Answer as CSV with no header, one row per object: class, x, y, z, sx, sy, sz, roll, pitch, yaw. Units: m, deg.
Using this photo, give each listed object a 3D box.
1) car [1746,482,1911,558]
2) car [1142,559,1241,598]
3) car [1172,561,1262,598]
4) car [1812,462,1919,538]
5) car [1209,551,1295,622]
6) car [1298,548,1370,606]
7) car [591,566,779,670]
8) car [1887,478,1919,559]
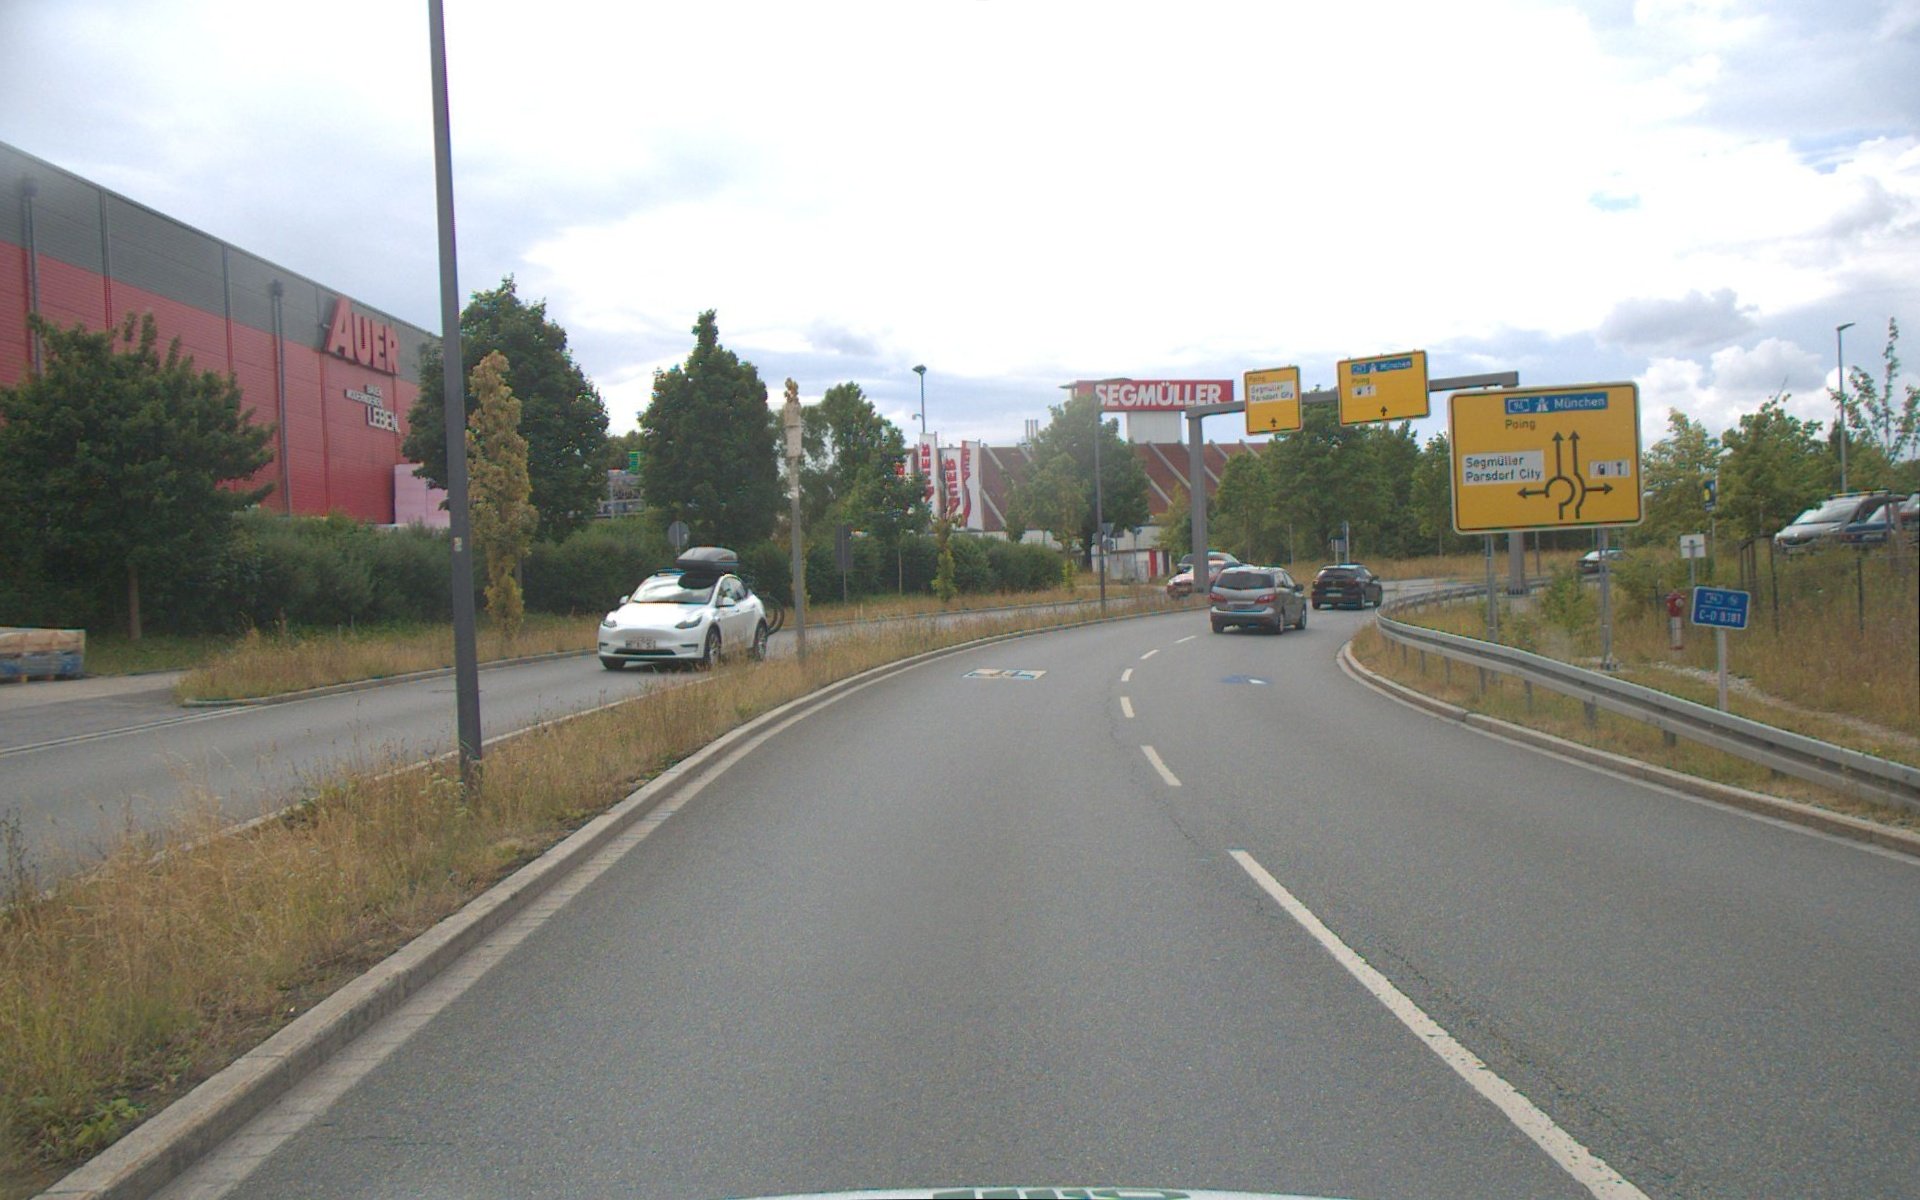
car,21.908,-1.969,41.700,4.113,1.813,1.786,0,2,-31
car,9.352,-0.871,66.417,1.762,1.472,4.951,2,2,37
car,11.944,-0.942,77.125,1.849,1.577,4.209,-2,0,-32
car,22.241,-2.333,39.166,3.797,1.682,1.720,0,1,-25
car,7.342,-0.293,41.372,1.730,1.645,3.924,-1,-1,15
car,12.583,-0.788,55.501,1.830,1.632,3.737,-3,3,20
car,-4.731,0.244,29.166,1.868,1.654,4.642,1,1,9
car,21.853,-1.715,35.404,3.668,1.682,1.510,0,1,-21
